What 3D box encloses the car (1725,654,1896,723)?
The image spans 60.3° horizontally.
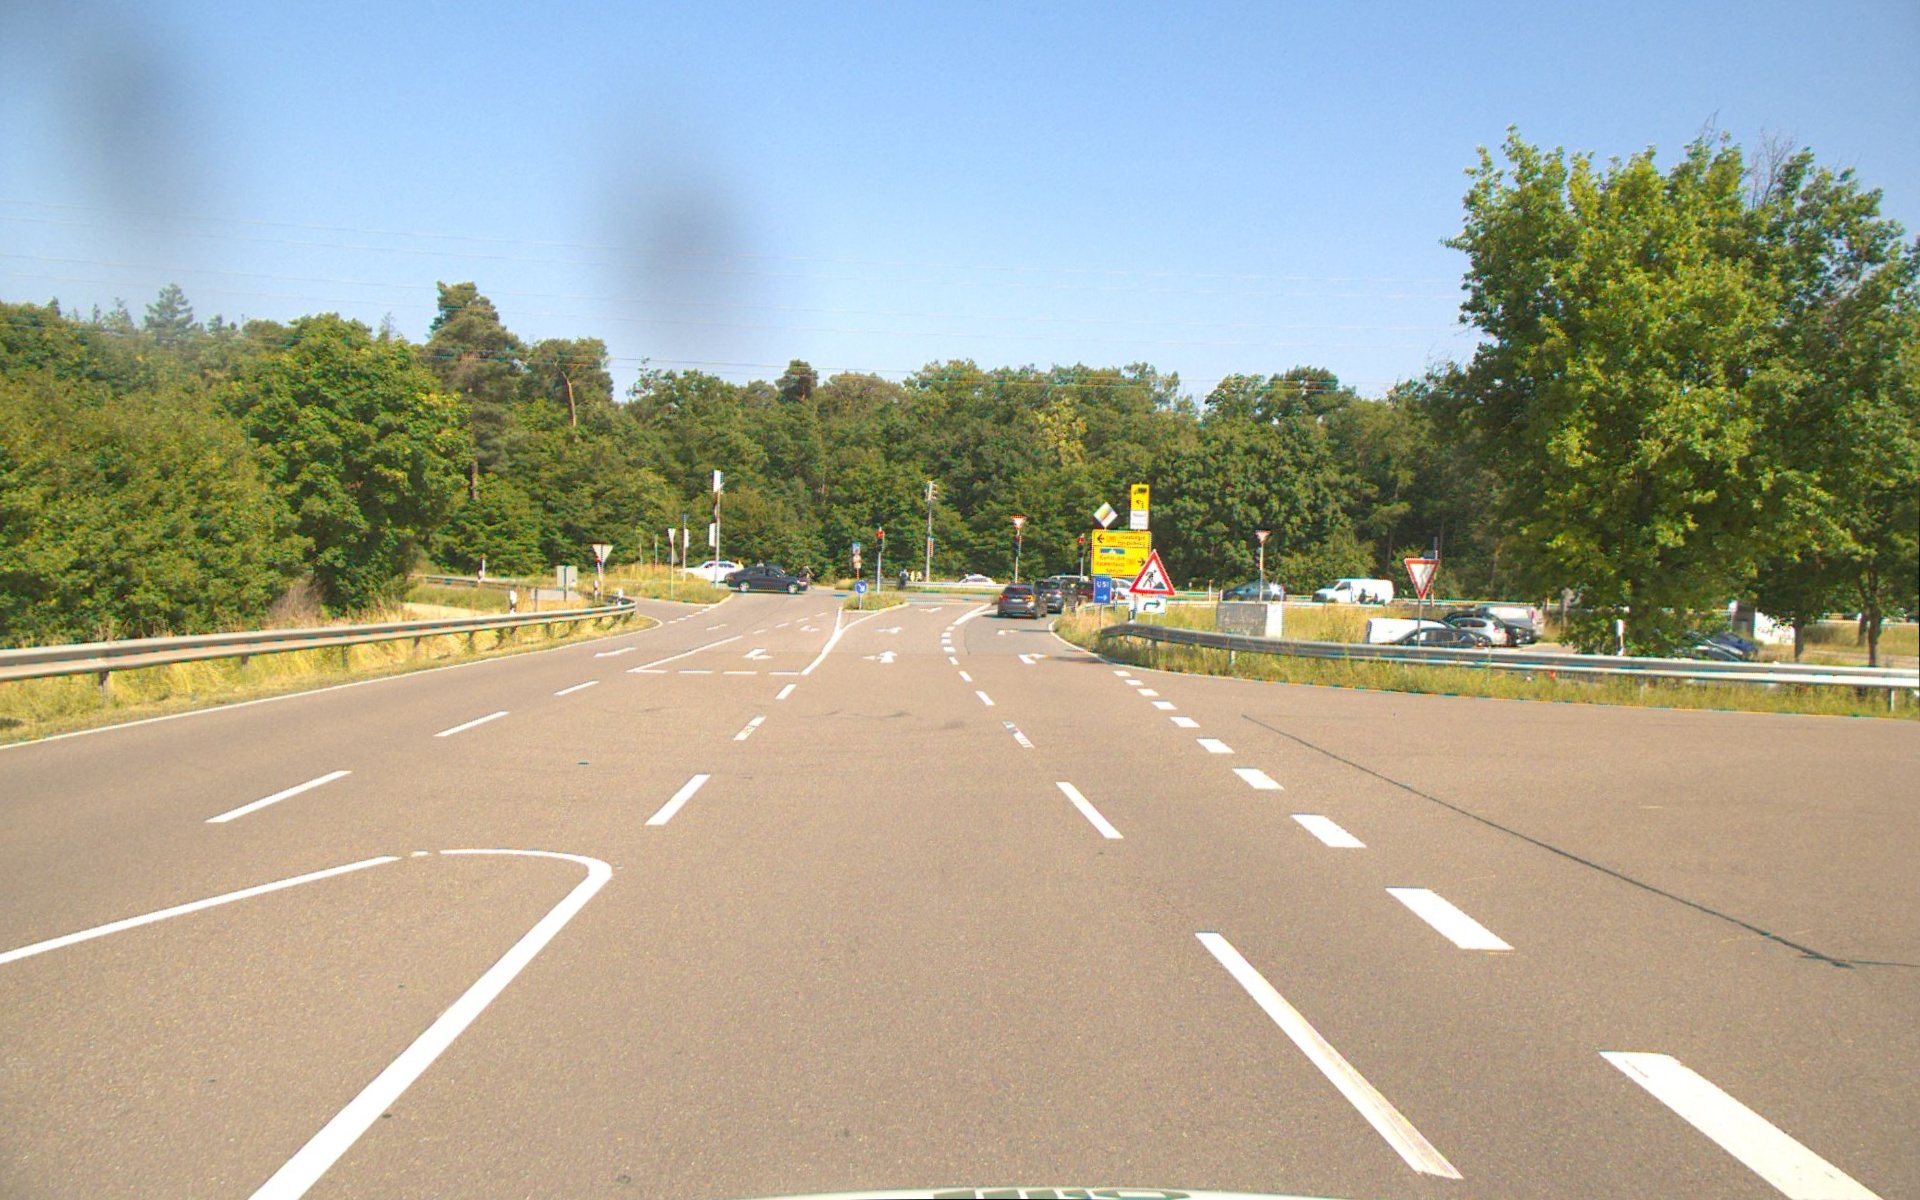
[{"bbox_3d":[24.561,2.542,47.879,3.903,1.608,1.893,4,1,6],"label":"car"}]

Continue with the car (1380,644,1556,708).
[{"bbox_3d":[14.911,2.219,48.744,4.556,1.655,2.000,1,0,0],"label":"car"}]

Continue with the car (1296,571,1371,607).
[{"bbox_3d":[22.083,-0.674,97.879,3.911,2.048,1.798,1,1,-7],"label":"car"}]

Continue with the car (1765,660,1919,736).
[{"bbox_3d":[24.289,2.654,44.888,3.903,1.694,1.893,4,1,6],"label":"car"}]

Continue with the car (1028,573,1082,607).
[{"bbox_3d":[4.621,-0.480,79.882,1.761,1.527,4.003,2,1,15],"label":"car"}]

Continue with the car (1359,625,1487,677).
[{"bbox_3d":[16.707,1.826,59.887,4.319,1.696,1.903,1,1,11],"label":"car"}]

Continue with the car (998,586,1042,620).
[{"bbox_3d":[2.670,0.107,72.440,1.761,1.422,4.002,0,1,4],"label":"car"}]

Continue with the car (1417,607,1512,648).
[{"bbox_3d":[24.144,1.298,79.131,3.917,1.647,1.886,4,1,33],"label":"car"}]

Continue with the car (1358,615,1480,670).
[{"bbox_3d":[17.373,1.594,62.827,4.262,1.814,1.903,3,1,11],"label":"car"}]

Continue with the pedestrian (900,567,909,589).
[{"bbox_3d":[-3.685,-1.470,110.362,0.512,1.415,0.514,0,0,9],"label":"pedestrian"}]

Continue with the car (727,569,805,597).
[{"bbox_3d":[-10.917,-0.963,92.776,4.283,1.485,1.996,-1,0,-9],"label":"car"}]

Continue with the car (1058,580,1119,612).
[{"bbox_3d":[6.663,-0.201,85.550,1.764,1.527,3.996,2,1,27],"label":"car"}]

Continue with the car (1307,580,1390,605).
[{"bbox_3d":[24.768,-0.495,105.433,4.790,1.579,1.996,-1,0,-8],"label":"car"}]

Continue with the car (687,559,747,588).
[{"bbox_3d":[-17.261,-1.886,117.382,3.933,2.049,1.783,-1,0,-24],"label":"car"}]

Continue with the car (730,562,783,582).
[{"bbox_3d":[-15.330,-2.097,124.327,3.912,1.447,1.793,-1,0,-8],"label":"car"}]

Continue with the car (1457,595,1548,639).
[{"bbox_3d":[27.618,0.868,84.297,3.924,1.909,1.883,4,1,38],"label":"car"}]

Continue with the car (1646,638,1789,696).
[{"bbox_3d":[26.463,2.323,57.917,4.264,1.617,2.001,4,1,18],"label":"car"}]

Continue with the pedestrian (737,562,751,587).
[{"bbox_3d":[-15.173,-1.795,115.920,0.750,1.751,0.671,0,1,-34],"label":"pedestrian"}]

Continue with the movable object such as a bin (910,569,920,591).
[{"bbox_3d":[-3.000,-1.335,110.899,0.589,1.514,0.732,0,0,6],"label":"movable object such as a bin"}]
